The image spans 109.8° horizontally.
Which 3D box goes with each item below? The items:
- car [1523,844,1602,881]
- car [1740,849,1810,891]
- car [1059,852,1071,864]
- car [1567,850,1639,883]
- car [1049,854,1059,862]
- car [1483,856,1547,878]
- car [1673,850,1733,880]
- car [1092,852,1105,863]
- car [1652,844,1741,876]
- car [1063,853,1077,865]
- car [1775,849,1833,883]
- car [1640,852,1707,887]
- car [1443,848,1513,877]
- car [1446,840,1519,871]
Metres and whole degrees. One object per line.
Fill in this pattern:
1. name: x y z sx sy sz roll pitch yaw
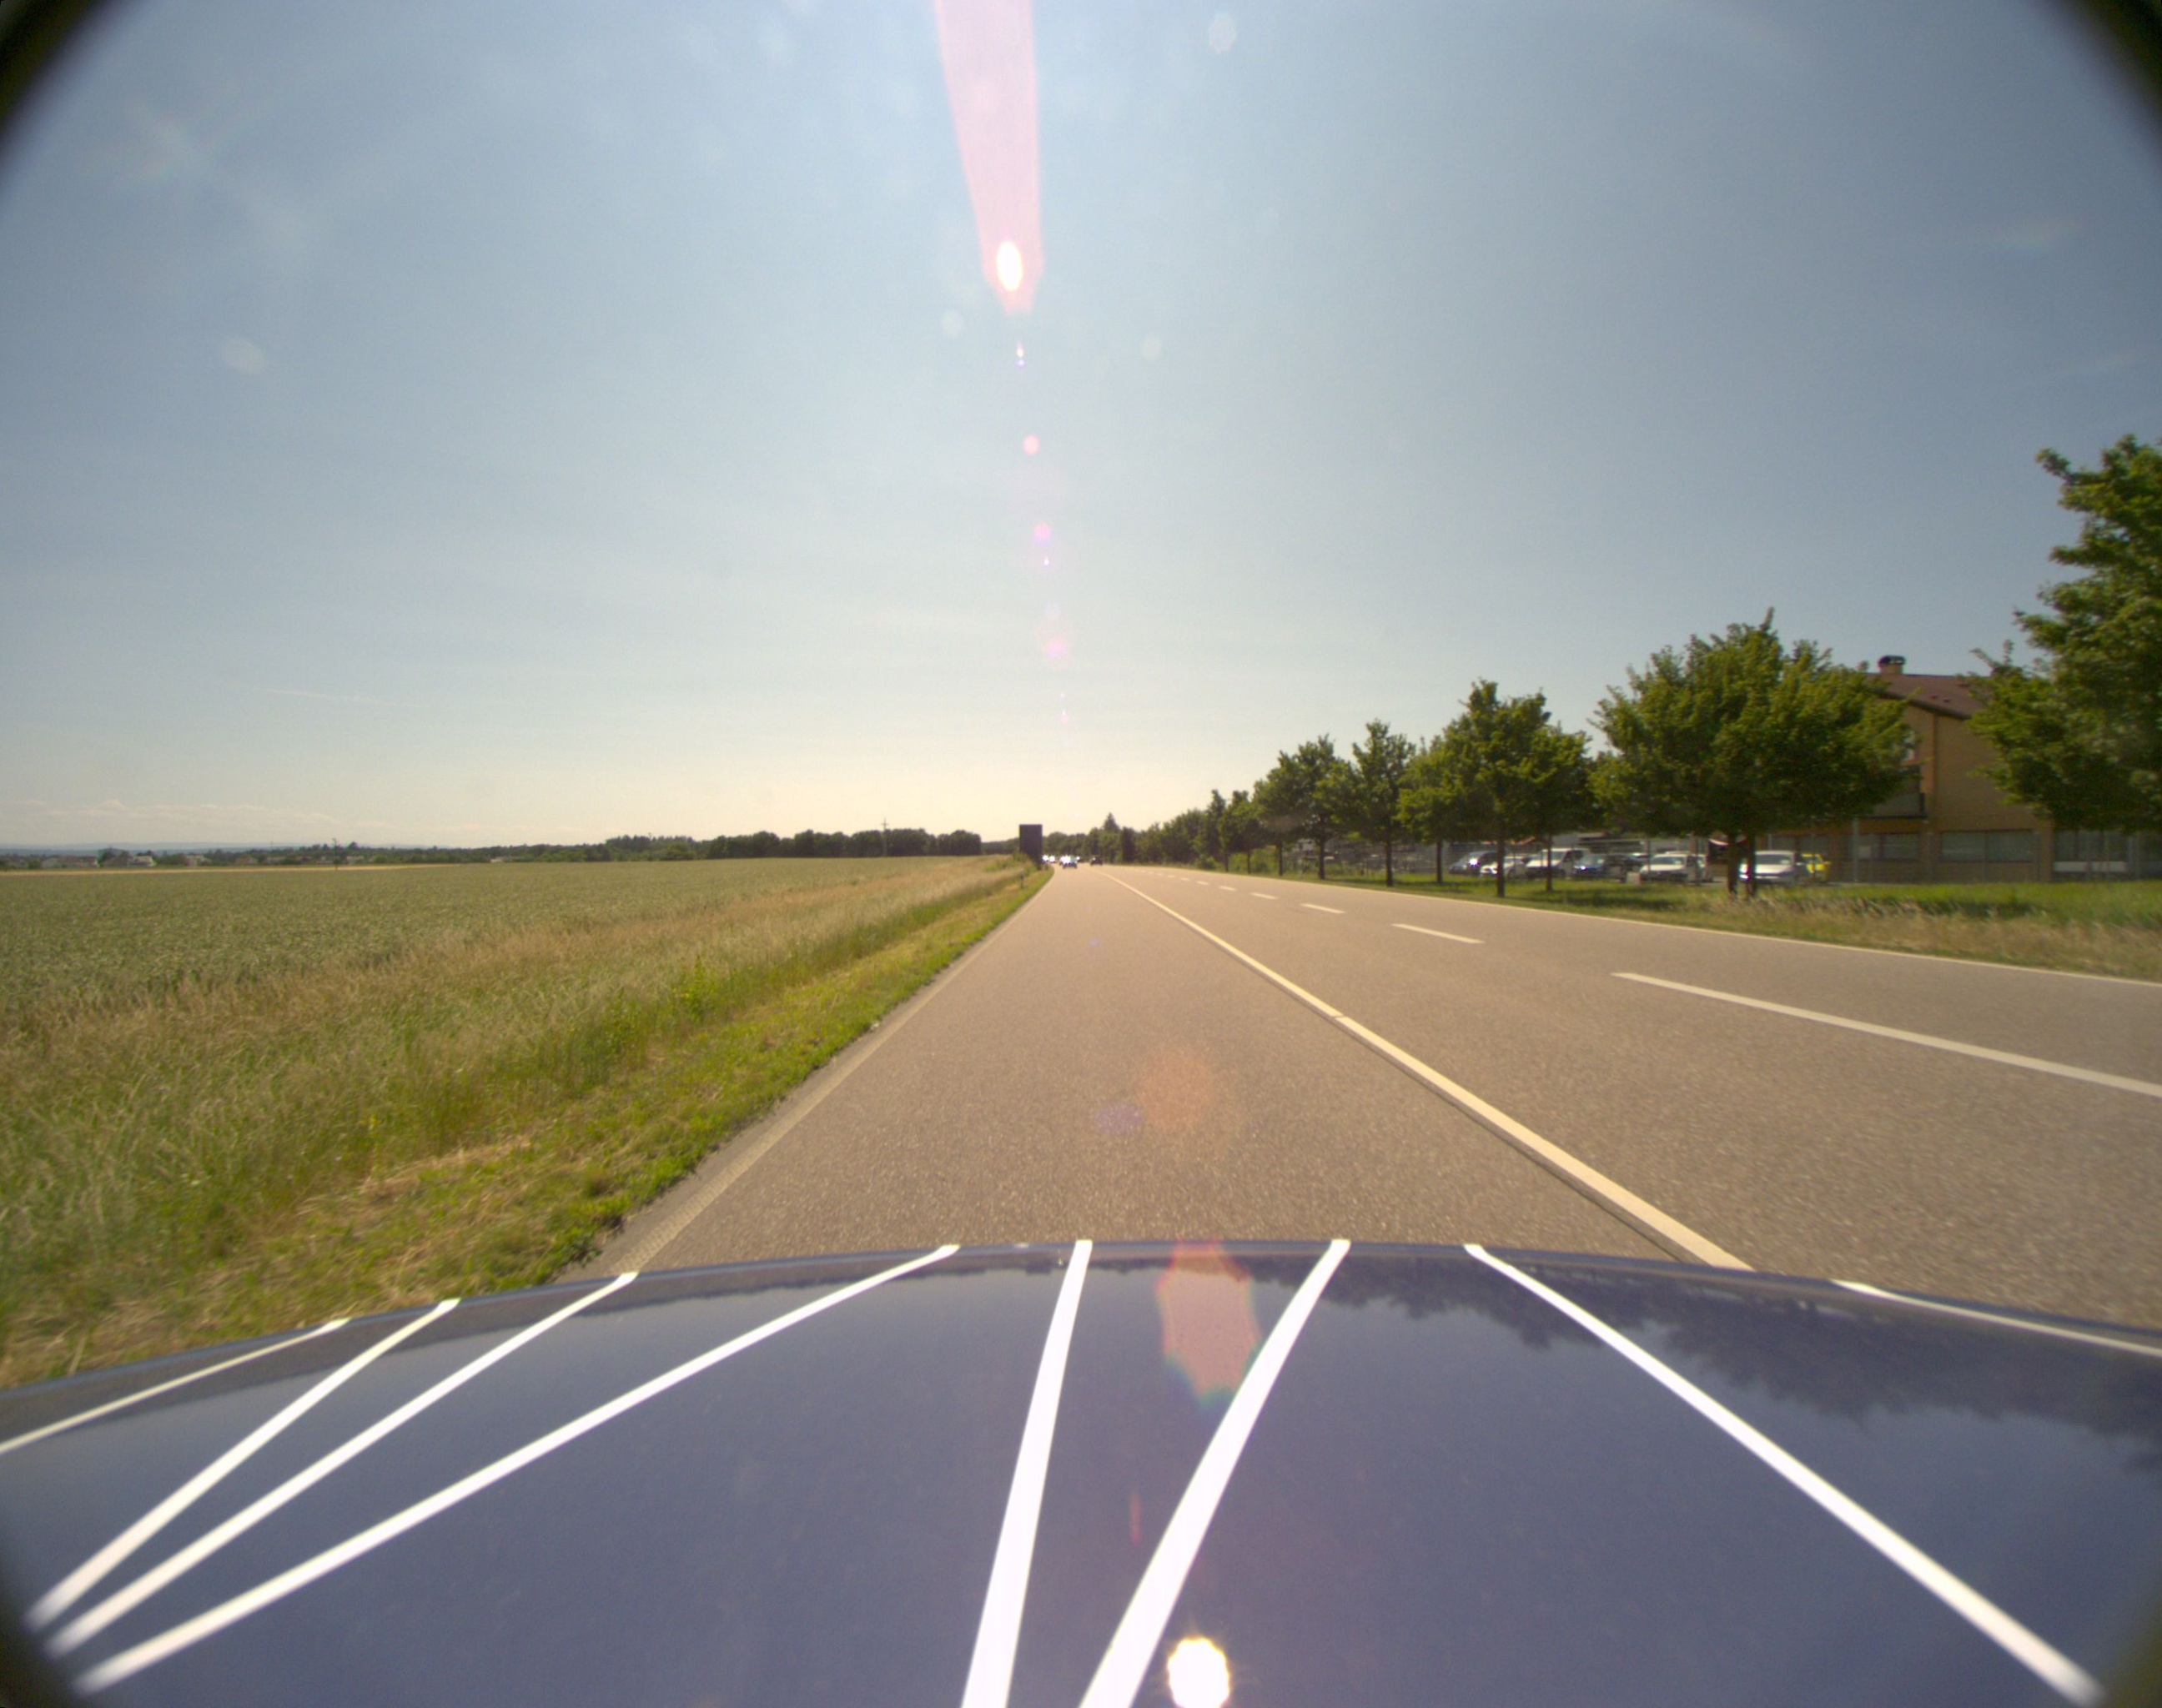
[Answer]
1. car: 28.404 0.477 44.812 4.671 1.943 1.823 -2 1 -28
2. car: 28.725 0.624 31.403 4.350 1.534 1.585 -2 1 -40
3. car: -2.752 0.668 131.393 1.999 2.001 3.999 -1 -1 -3
4. car: 28.172 0.653 40.971 4.007 1.587 1.995 -2 1 -37
5. car: -5.909 0.830 168.712 1.555 1.659 3.995 -3 1 -11
6. car: 27.674 0.830 48.471 3.684 1.257 1.812 -2 0 -27
7. car: 32.850 0.557 40.123 3.352 1.444 1.509 -2 1 -33
8. car: 2.621 0.520 113.881 1.684 1.490 3.885 -2 0 -1
9. car: 48.499 0.414 59.987 2.060 2.412 5.089 0 0 -38
10. car: -1.383 0.609 95.746 1.693 1.431 3.709 -2 0 -2
11. car: 33.939 0.544 35.628 4.008 1.390 1.734 -2 1 -44
12. car: 27.938 0.712 35.789 4.001 1.471 1.668 -2 1 -40
13. car: 27.350 0.550 52.290 4.310 1.791 2.021 -2 1 -25
14. car: 36.520 0.119 69.205 5.729 2.707 2.370 0 0 31
